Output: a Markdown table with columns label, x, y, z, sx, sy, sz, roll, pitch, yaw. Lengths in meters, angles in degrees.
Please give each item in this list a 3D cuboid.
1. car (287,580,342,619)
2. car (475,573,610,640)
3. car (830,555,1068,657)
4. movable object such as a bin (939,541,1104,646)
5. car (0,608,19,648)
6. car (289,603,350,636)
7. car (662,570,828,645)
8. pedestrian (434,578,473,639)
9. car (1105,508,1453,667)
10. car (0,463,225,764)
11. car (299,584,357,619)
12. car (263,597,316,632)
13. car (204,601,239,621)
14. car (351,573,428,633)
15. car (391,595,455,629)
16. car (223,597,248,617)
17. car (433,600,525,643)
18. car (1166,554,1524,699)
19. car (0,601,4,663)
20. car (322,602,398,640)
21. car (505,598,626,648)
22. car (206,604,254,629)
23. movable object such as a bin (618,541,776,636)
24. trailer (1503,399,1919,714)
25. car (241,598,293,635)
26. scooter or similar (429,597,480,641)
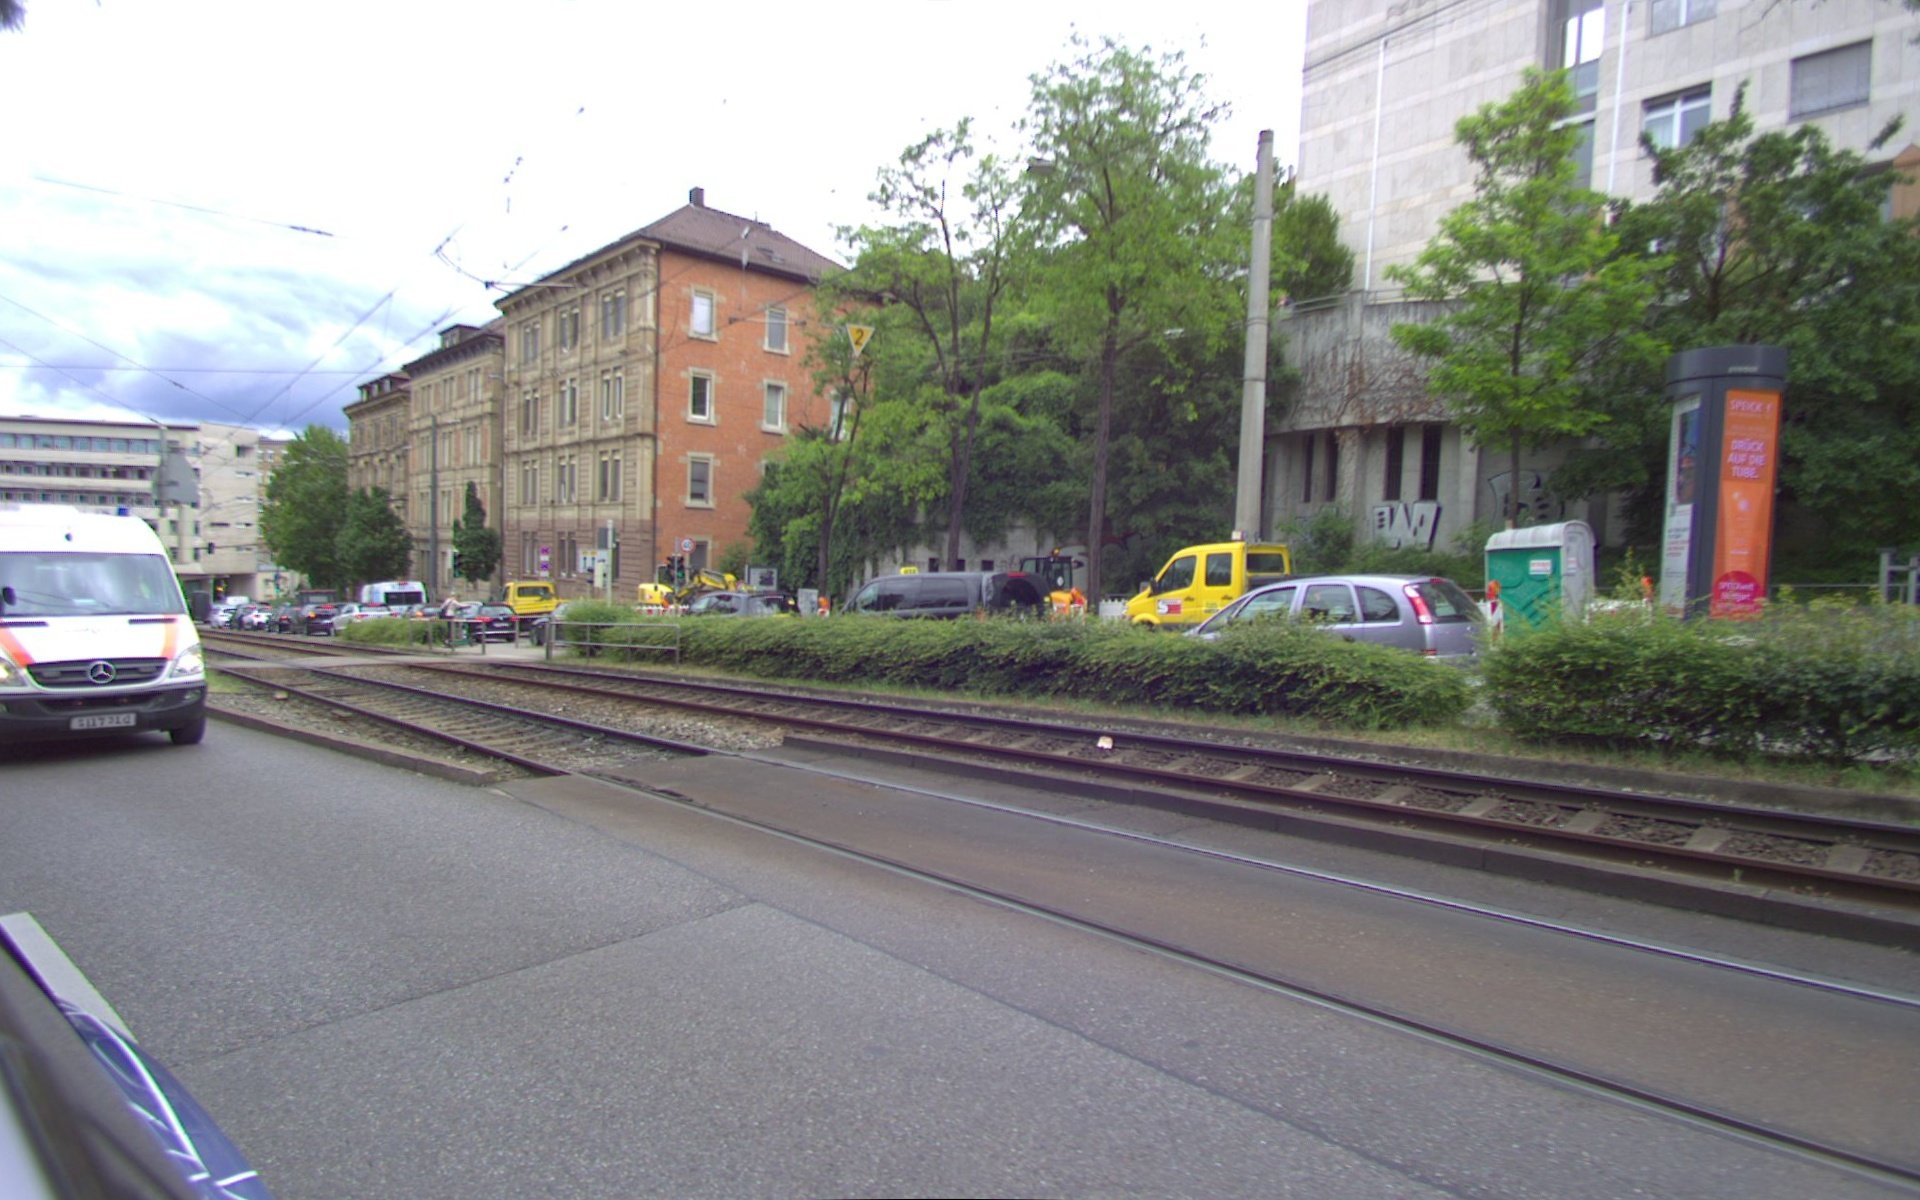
| label | x | y | z | sx | sy | sz | roll | pitch | yaw |
| --- | --- | --- | --- | --- | --- | --- | --- | --- | --- |
| car | -39.193 | -0.001 | 61.417 | 2.209 | 2.305 | 4.005 | 0 | -1 | -41 |
| car | -16.830 | 0.224 | 40.544 | 6.754 | 2.454 | 2.414 | 0 | 0 | 43 |
| car | -0.348 | 0.116 | 18.458 | 1.968 | 1.617 | 4.619 | 0 | -1 | -38 |
| movable object such as a bin | 1.514 | -0.164 | 26.134 | 1.909 | 2.486 | 4.105 | -2 | 1 | -40 |
| car | -39.480 | 1.127 | 40.925 | 1.970 | 1.564 | 4.320 | 0 | -1 | -45 |
| car | -30.947 | 0.926 | 48.871 | 1.844 | 1.530 | 3.955 | 0 | -1 | -42 |
| car | -5.262 | 0.175 | 24.327 | 1.968 | 1.617 | 4.627 | 0 | -1 | -40 |
| pedestrian | -15.643 | 0.265 | 31.261 | 0.788 | 1.831 | 0.735 | 0 | -2 | 24 |
| car | 5.922 | -0.192 | 19.752 | 2.129 | 2.613 | 6.347 | 0 | -1 | -39 |
| car | -10.418 | 0.135 | 11.591 | 5.852 | 2.720 | 2.012 | -1 | 0 | 42 |
| car | -36.686 | 0.121 | 58.727 | 2.286 | 1.954 | 3.441 | 0 | -1 | -41 |
| car | -35.084 | 0.728 | 52.908 | 1.814 | 1.763 | 4.005 | 0 | -1 | -41 |
| car | -62.468 | 0.926 | 85.621 | 1.969 | 1.630 | 4.005 | -1 | 0 | -42 |
| car | -28.176 | 0.162 | 49.948 | 2.183 | 2.844 | 4.788 | 1 | -1 | -44 |
| car | -24.556 | 0.542 | 46.223 | 1.626 | 1.465 | 3.567 | -1 | 0 | -45 |
| car | -68.197 | 0.619 | 95.236 | 1.675 | 1.824 | 4.007 | -1 | 0 | -39 |
| car | -17.450 | 0.734 | 36.642 | 4.002 | 1.473 | 1.758 | 0 | -1 | 45 |
| car | 4.460 | 0.279 | 12.190 | 1.637 | 1.454 | 3.748 | 0 | -1 | -37 |
| car | -25.337 | 0.841 | 25.306 | 1.902 | 1.584 | 4.186 | -2 | 1 | -41 |
| car | -26.081 | 0.866 | 43.944 | 3.999 | 1.579 | 1.685 | 0 | -1 | 42 |
| car | -12.564 | 0.704 | 32.070 | 1.859 | 1.446 | 4.850 | 3 | -2 | -43 |
| car | -48.614 | 1.088 | 67.368 | 1.971 | 1.630 | 4.002 | -1 | 0 | -45 |
| movable object such as a bin | -10.751 | -0.406 | 41.066 | 6.536 | 3.575 | 2.722 | -1 | -1 | 36 |
| trailer | 9.319 | -0.443 | 11.100 | 1.993 | 2.995 | 5.603 | -2 | 1 | -36 |
| car | -39.310 | 0.918 | 57.355 | 1.969 | 2.060 | 4.005 | 0 | -1 | -41 |
| scooter or similar | -15.451 | 0.565 | 30.941 | 0.528 | 1.306 | 1.490 | 0 | -1 | 16 |
